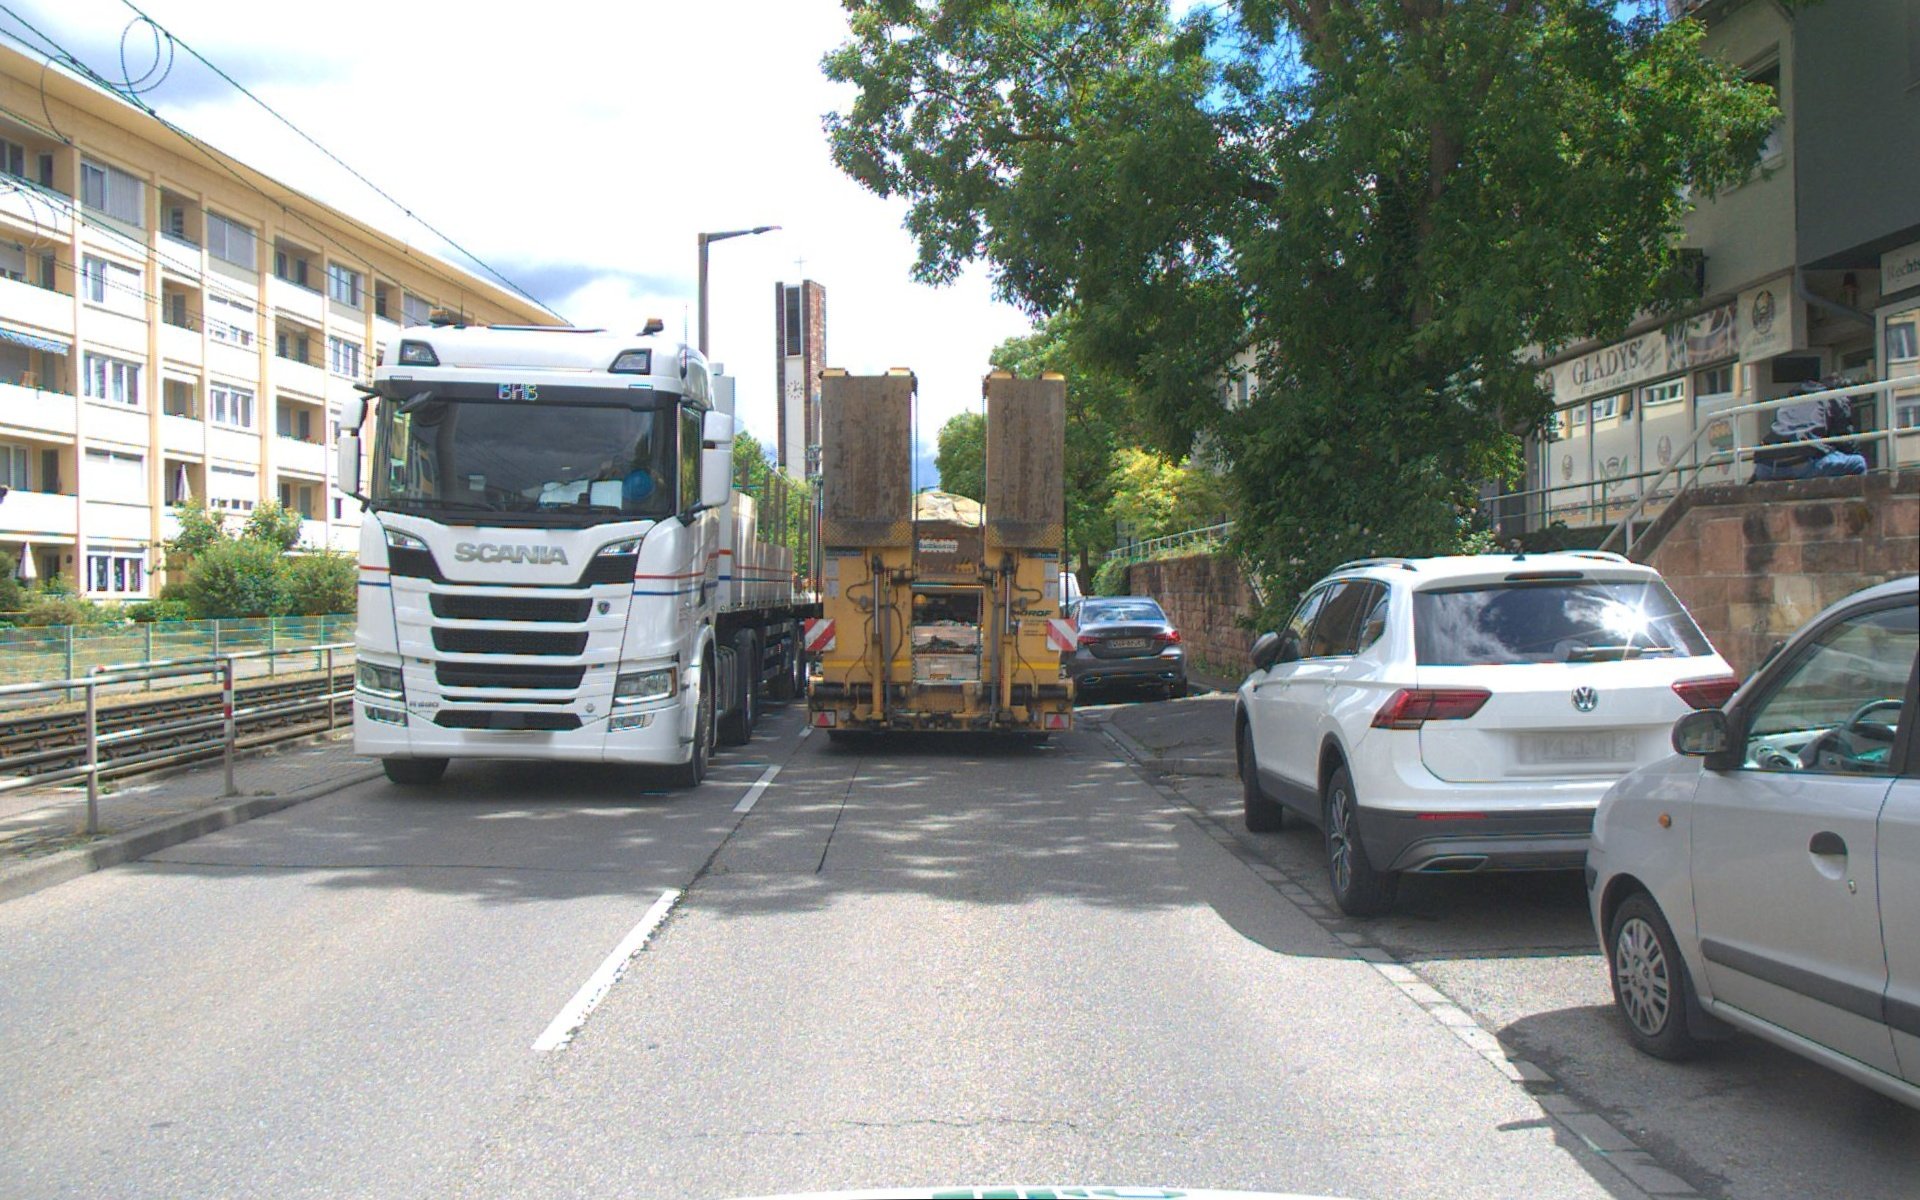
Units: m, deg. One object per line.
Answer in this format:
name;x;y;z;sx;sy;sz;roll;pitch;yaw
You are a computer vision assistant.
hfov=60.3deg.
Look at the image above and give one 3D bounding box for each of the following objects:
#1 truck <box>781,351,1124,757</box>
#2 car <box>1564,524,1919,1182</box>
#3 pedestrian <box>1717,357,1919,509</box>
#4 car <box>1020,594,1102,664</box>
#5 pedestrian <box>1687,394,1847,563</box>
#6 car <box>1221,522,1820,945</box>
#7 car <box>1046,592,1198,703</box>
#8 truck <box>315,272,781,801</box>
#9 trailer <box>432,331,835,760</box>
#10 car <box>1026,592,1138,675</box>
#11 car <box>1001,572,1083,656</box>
truck;-0.171;-0.488;21.084;3.060;3.626;12.457;0;1;-1
car;3.060;0.599;4.317;1.550;1.579;3.473;0;1;-3
pedestrian;4.885;-0.941;9.459;0.779;0.804;0.705;0;0;-3
car;2.206;0.608;36.929;1.587;1.430;3.649;-2;1;0
pedestrian;4.901;-0.725;10.072;0.629;0.961;0.616;-2;0;-3
car;2.679;0.527;9.130;1.786;1.711;4.576;-1;1;1
car;2.315;0.630;24.613;1.798;1.430;4.413;-2;1;0
truck;-3.192;-0.465;14.572;2.643;3.643;6.143;1;1;-1
trailer;-3.311;-0.534;21.016;2.643;3.643;13.672;1;1;-1
car;2.272;0.595;31.746;1.656;1.430;4.067;-2;1;-3
car;2.043;0.317;42.342;1.763;2.003;4.589;-2;1;-1
